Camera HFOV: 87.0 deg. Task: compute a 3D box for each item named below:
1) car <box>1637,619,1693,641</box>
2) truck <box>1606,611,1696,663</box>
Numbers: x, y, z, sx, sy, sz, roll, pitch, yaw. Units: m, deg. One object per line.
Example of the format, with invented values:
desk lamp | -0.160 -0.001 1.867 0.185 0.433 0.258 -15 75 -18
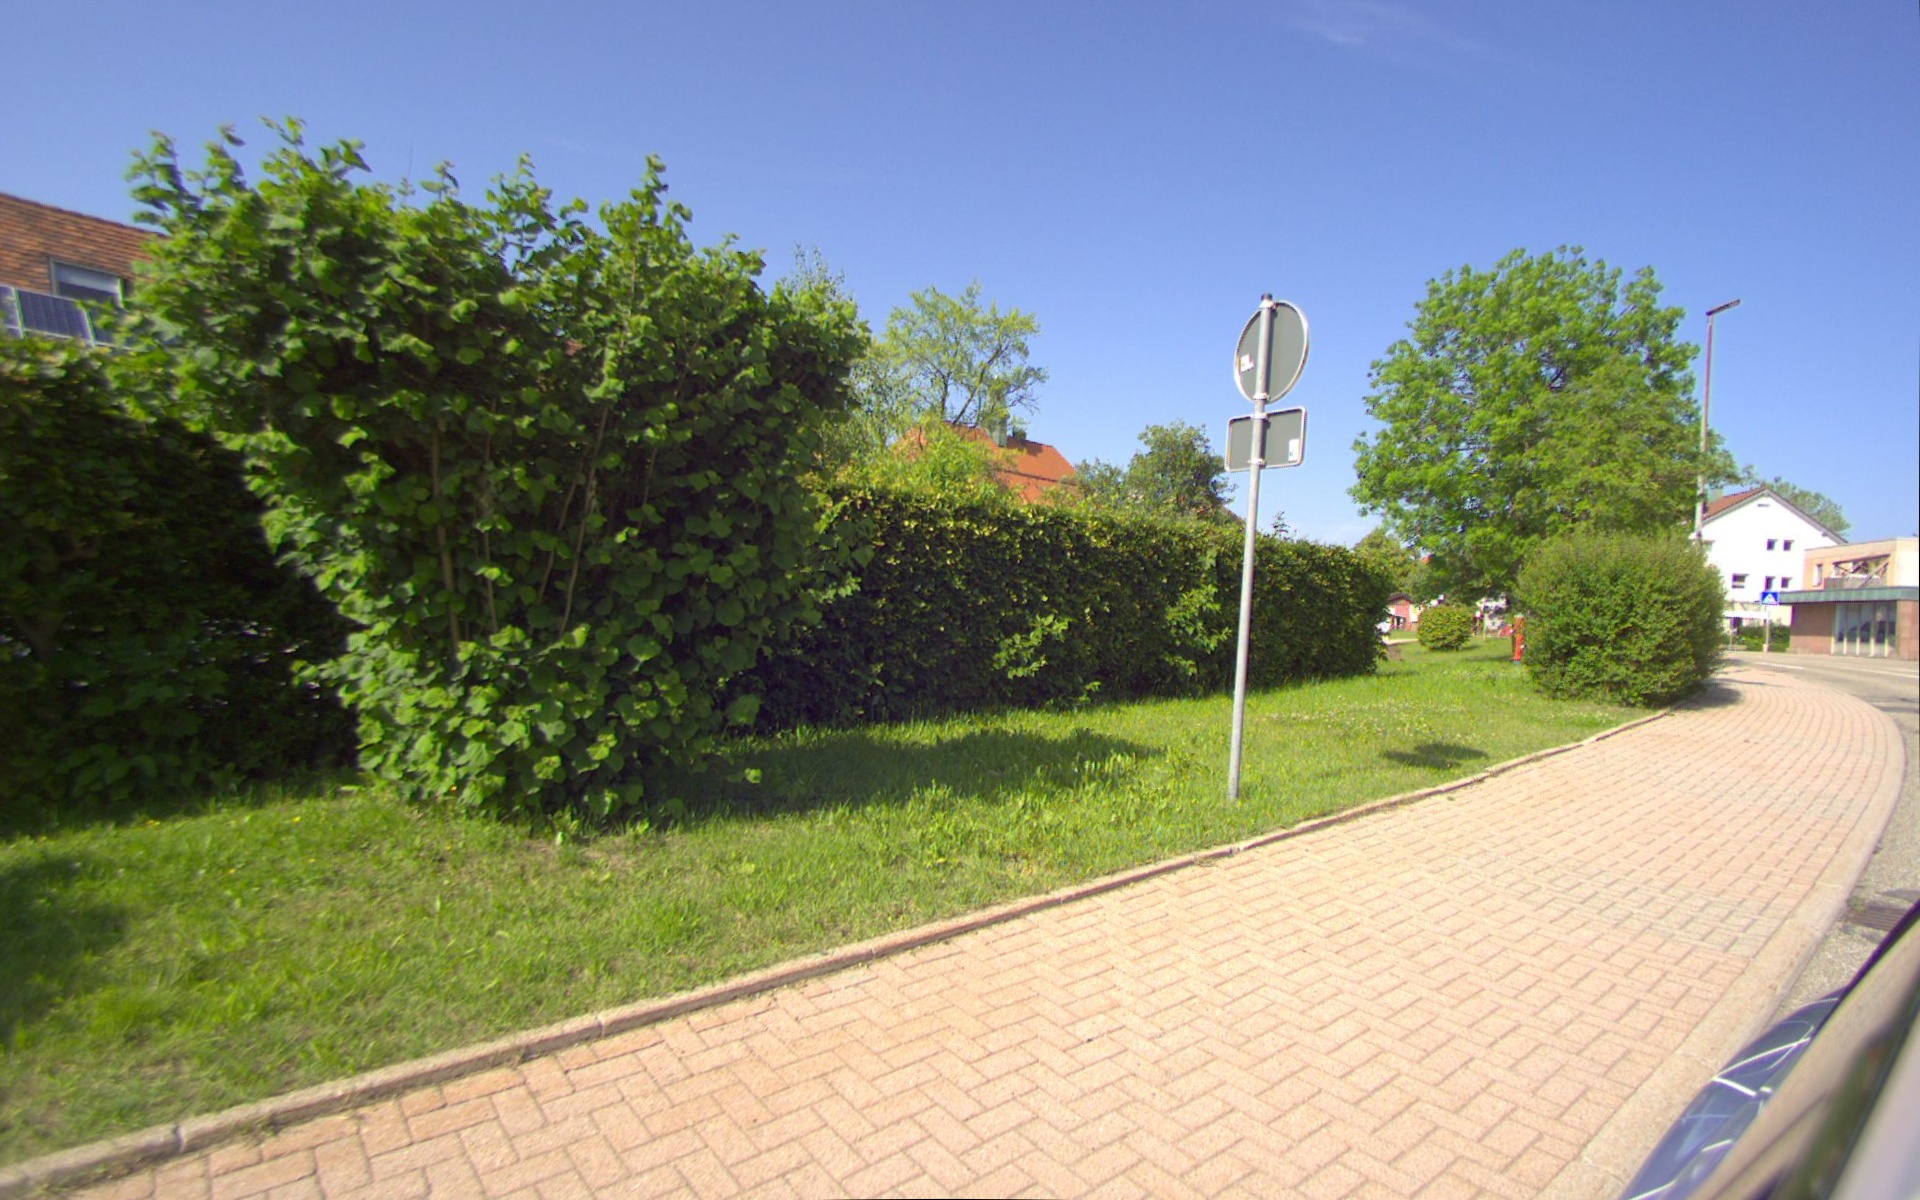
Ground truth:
car | 48.158 2.050 69.209 1.749 1.487 3.699 -1 -1 12
truck | 33.419 1.851 49.164 1.975 2.373 6.448 -1 -3 20
